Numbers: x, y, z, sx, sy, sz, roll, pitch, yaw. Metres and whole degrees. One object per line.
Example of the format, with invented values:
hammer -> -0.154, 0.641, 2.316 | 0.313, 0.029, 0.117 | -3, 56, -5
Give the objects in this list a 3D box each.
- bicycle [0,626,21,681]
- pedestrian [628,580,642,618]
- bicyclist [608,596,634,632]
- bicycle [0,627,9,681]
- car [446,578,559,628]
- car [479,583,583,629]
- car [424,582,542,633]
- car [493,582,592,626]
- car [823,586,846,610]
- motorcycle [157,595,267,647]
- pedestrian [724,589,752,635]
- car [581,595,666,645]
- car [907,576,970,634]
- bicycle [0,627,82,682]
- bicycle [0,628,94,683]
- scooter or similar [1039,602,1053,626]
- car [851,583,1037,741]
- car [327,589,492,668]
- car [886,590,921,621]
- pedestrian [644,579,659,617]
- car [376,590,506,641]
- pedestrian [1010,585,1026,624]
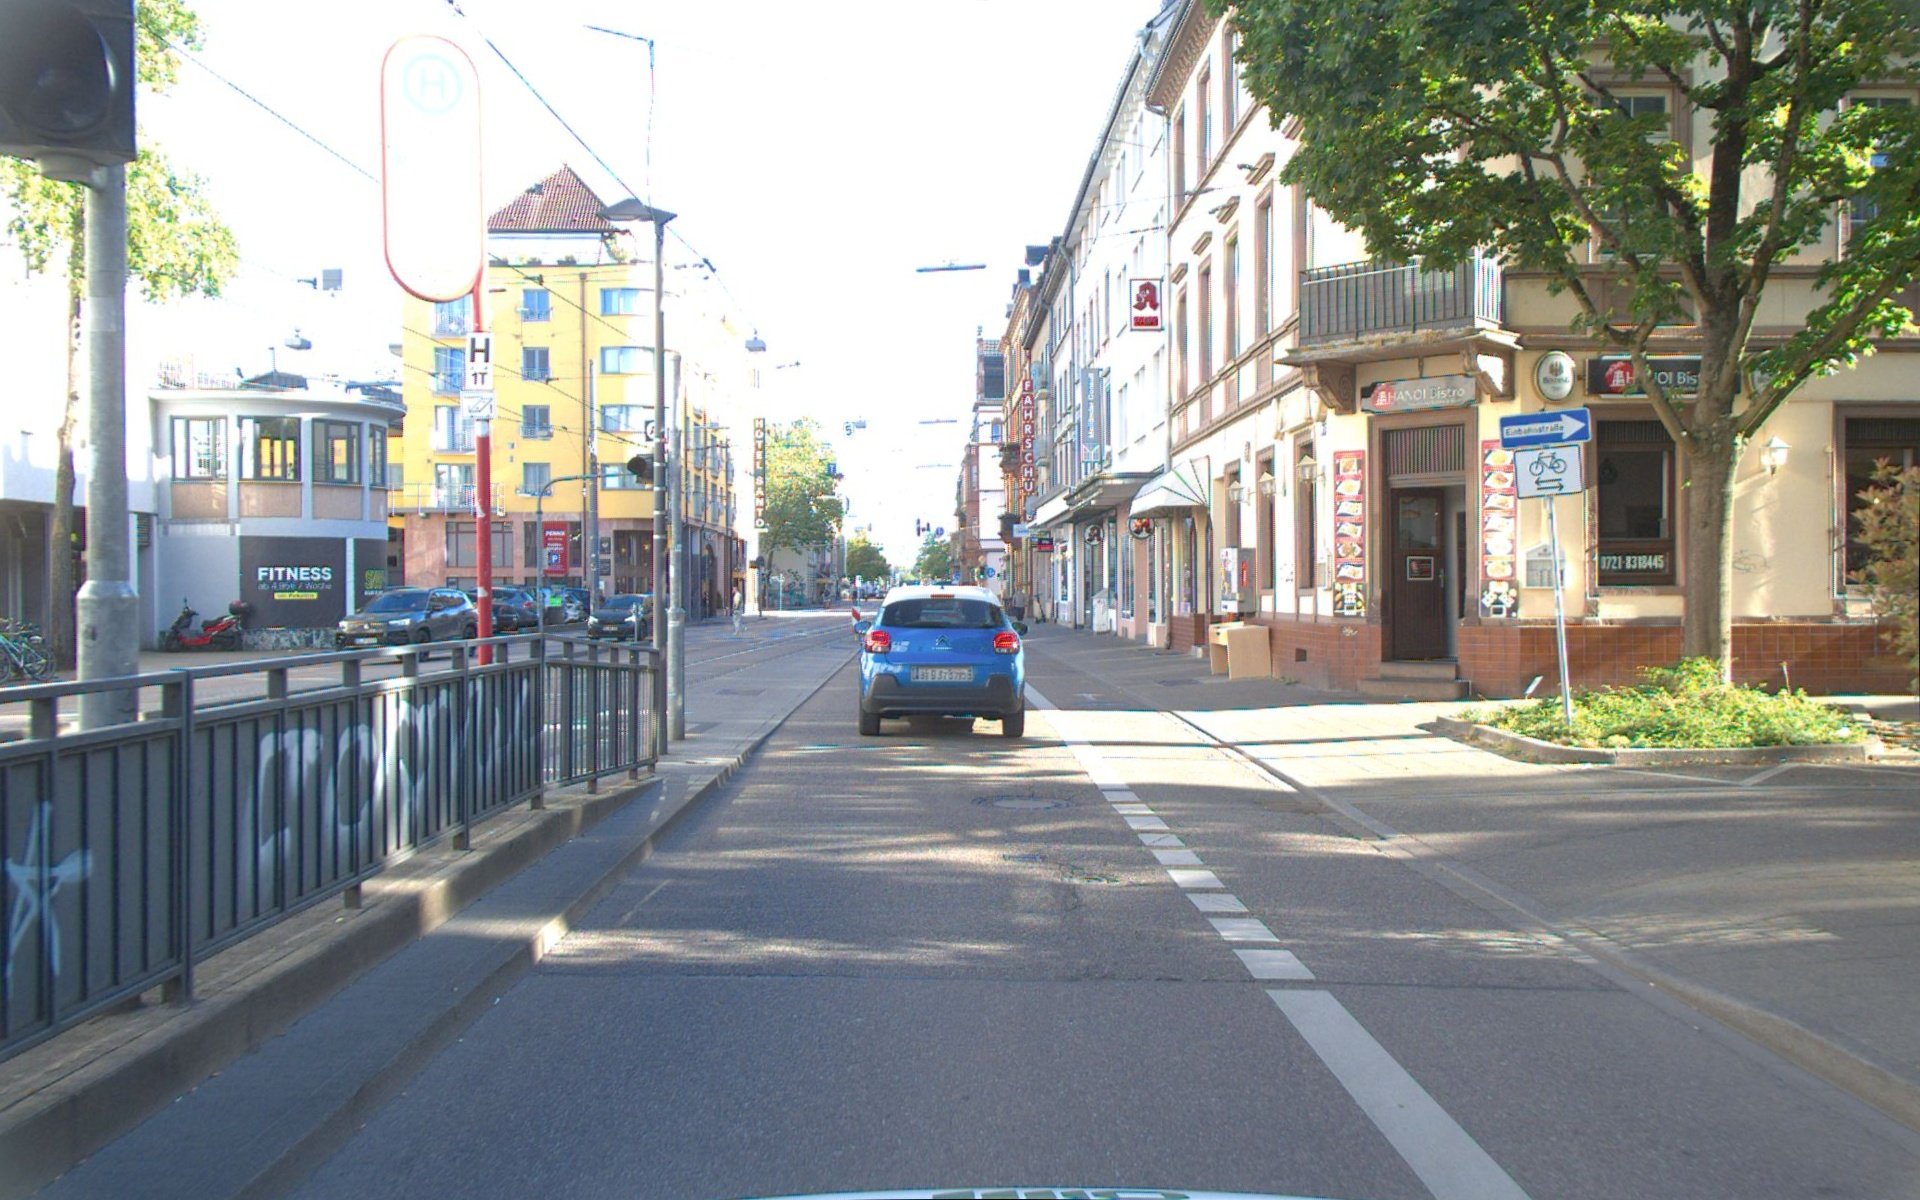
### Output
bicycle -> -17.226, 0.947, 28.816 | 0.384, 0.957, 1.490 | 0, 0, 34
pedestrian -> -16.261, -0.052, 82.747 | 0.683, 1.862, 0.838 | 0, 0, -13
bicyclist -> -12.593, 0.503, 61.532 | 0.715, 1.314, 1.180 | 0, 0, 0
bicycle -> -17.575, 0.971, 29.061 | 0.384, 0.957, 1.490 | 0, 0, 34
car -> -17.825, 0.101, 64.552 | 3.909, 1.880, 1.956 | 0, 0, -5
car -> -17.936, 0.253, 69.258 | 3.909, 1.880, 1.956 | 0, 0, -5
car -> -17.808, 0.261, 61.911 | 3.909, 1.880, 1.956 | 0, 0, -5
car -> -18.207, 0.167, 72.322 | 3.909, 1.880, 1.956 | 0, 0, -5
car -> -11.335, -0.146, 149.613 | 1.954, 2.049, 3.997 | 1, -1, -3
motorcycle -> -19.171, 0.526, 42.413 | 2.463, 1.311, 0.667 | 0, 0, -4
pedestrian -> -8.109, 0.427, 60.355 | 0.829, 1.683, 0.691 | 0, 0, -29
car -> -11.015, 0.626, 54.353 | 1.911, 1.512, 4.000 | -2, 1, 0
car -> -0.722, 0.185, 54.339 | 1.953, 1.773, 3.999 | 1, -1, -1
bicycle -> -17.100, 1.002, 30.617 | 0.384, 0.957, 1.490 | 0, 0, 34
bicycle -> -16.734, 1.007, 30.350 | 0.384, 0.957, 1.490 | 0, 0, 34
scooter or similar -> 3.565, 0.573, 68.801 | 0.501, 0.976, 1.851 | 0, 1, 0
car -> -0.177, 0.575, 17.560 | 1.745, 1.476, 3.653 | 1, 0, -1
car -> -12.582, 0.602, 38.142 | 1.715, 1.643, 4.831 | -2, 0, 6
car -> -3.303, 0.346, 96.768 | 1.953, 1.773, 3.999 | 1, -1, -1
pedestrian -> -15.439, -0.090, 82.735 | 0.683, 1.890, 0.838 | 0, 0, -13
car -> -17.856, 0.519, 57.050 | 3.909, 1.704, 1.956 | 0, 0, -5
pedestrian -> 2.572, 0.197, 73.084 | 0.679, 1.680, 0.680 | 0, 0, -2
